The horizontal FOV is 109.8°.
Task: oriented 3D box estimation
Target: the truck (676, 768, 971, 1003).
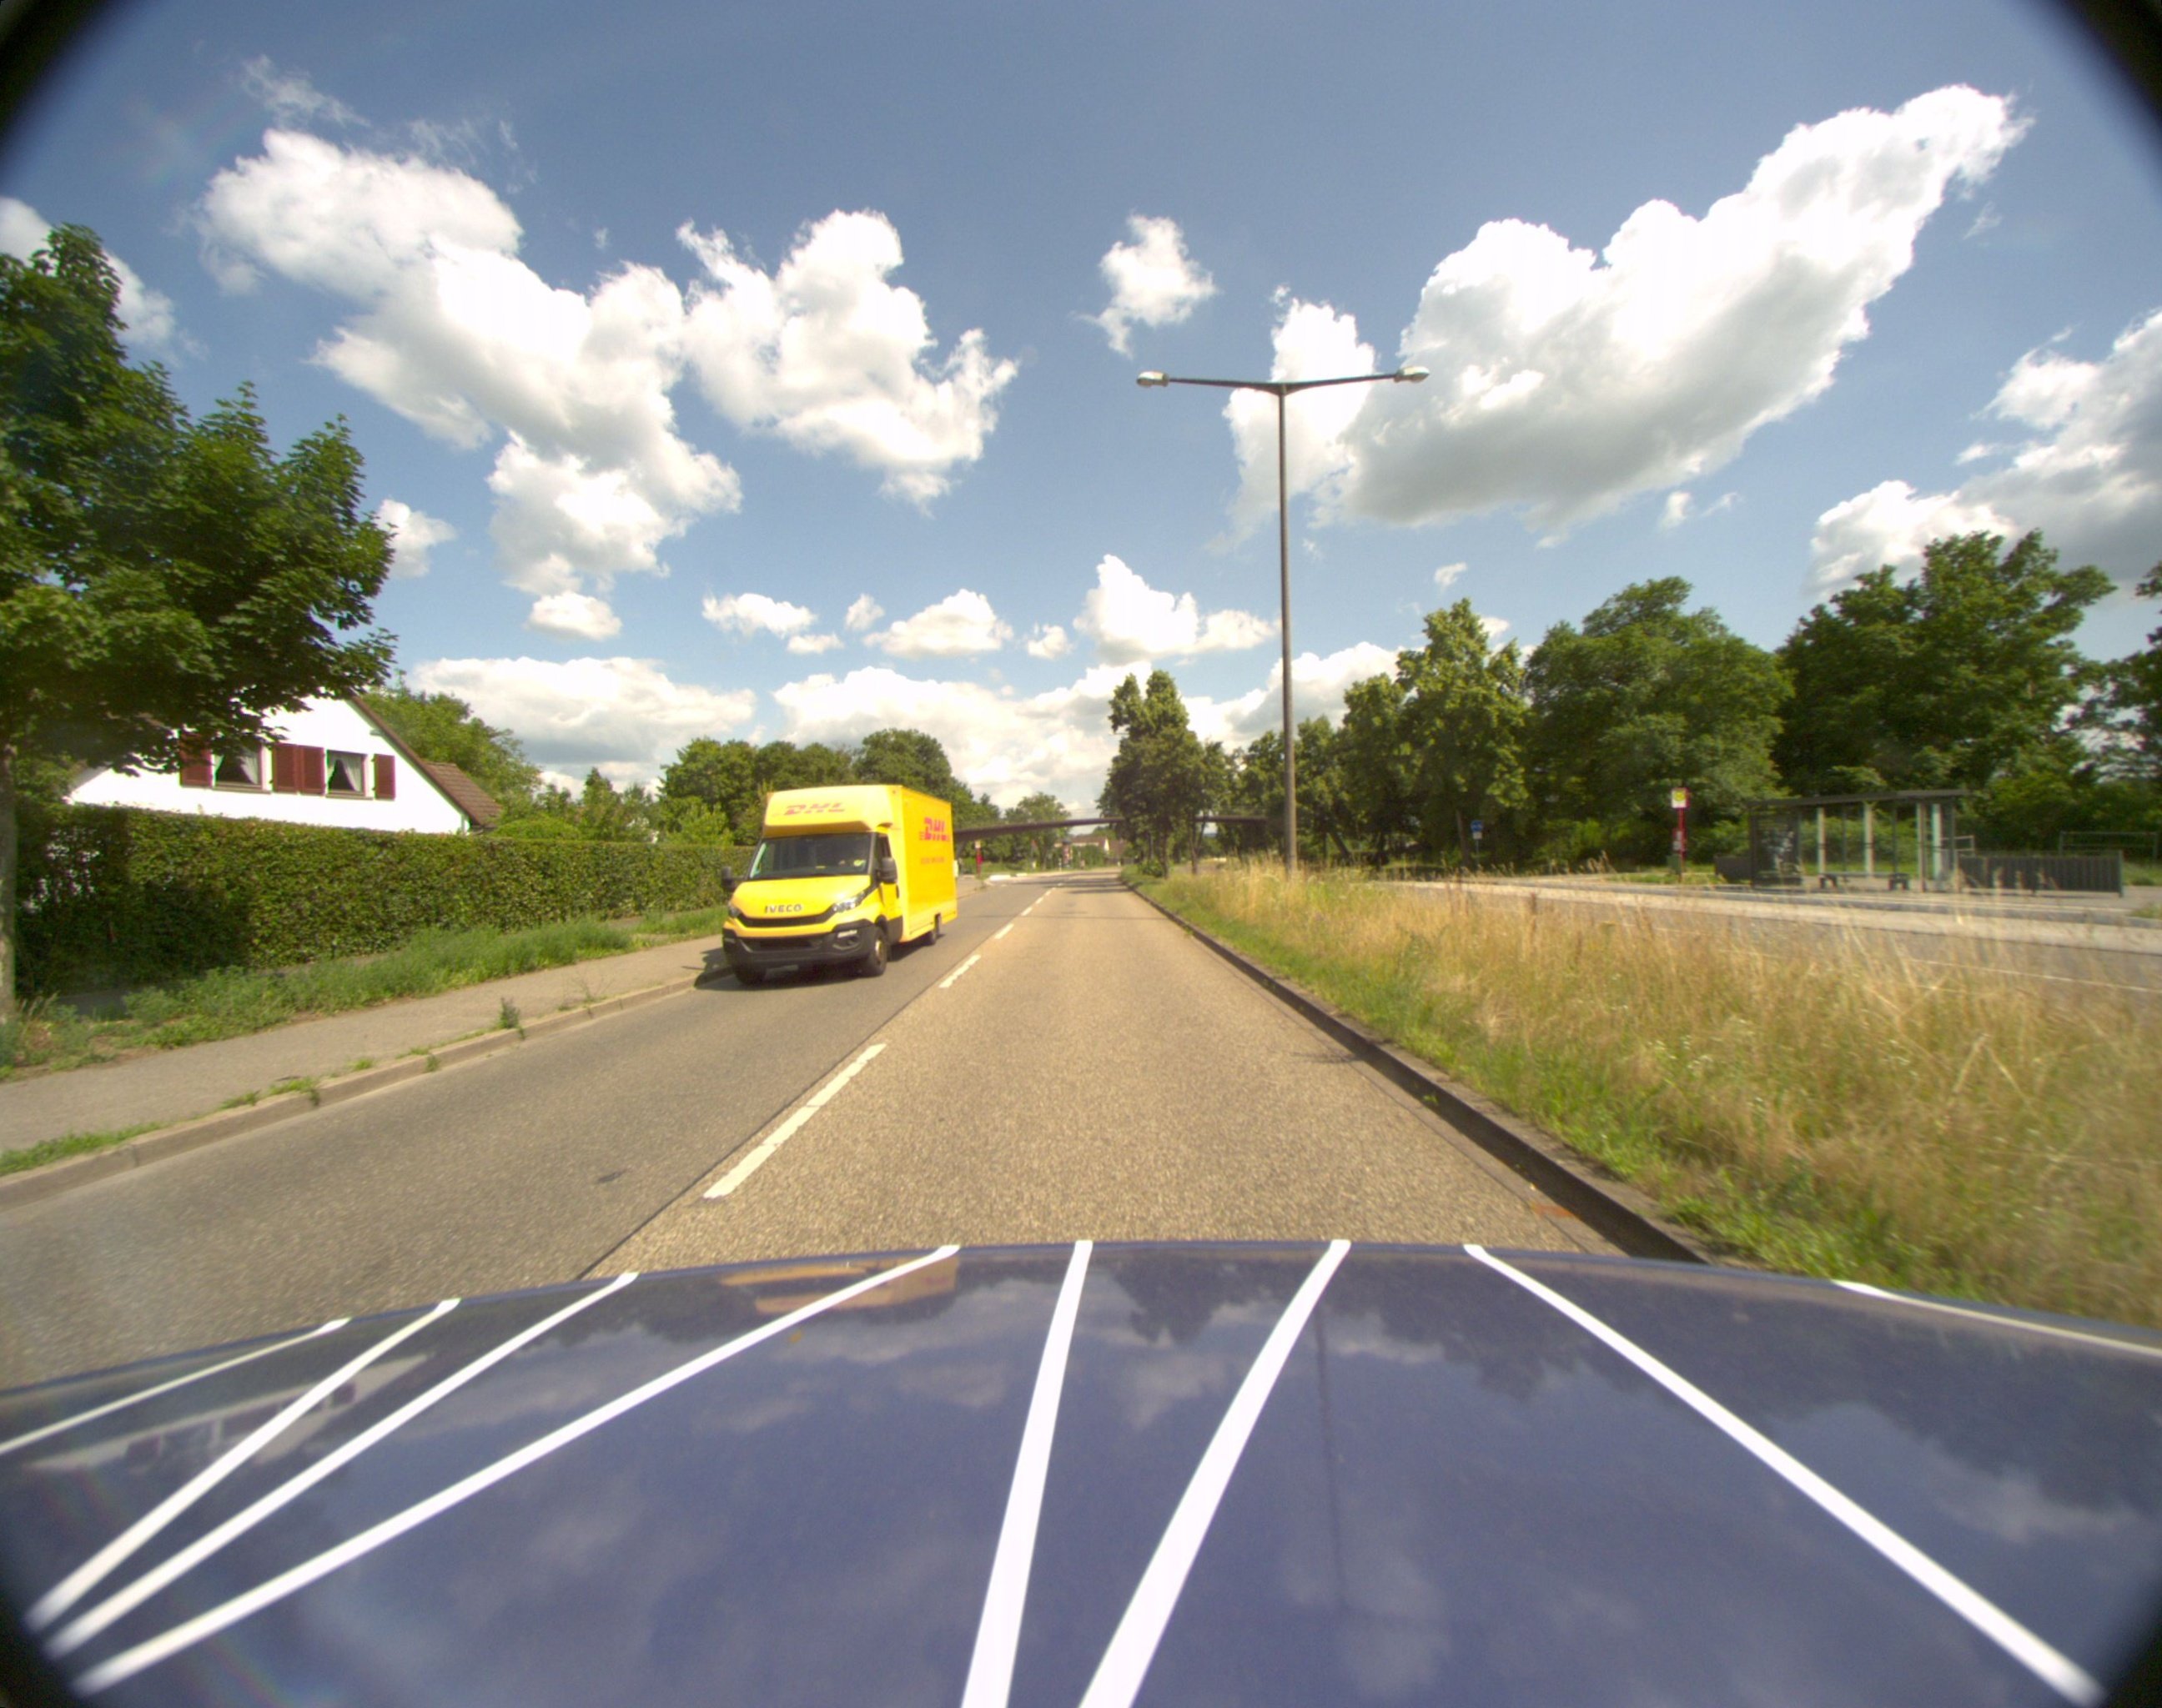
[{"bbox_3d":[-3.842,0.445,13.625,2.270,2.863,8.029,-3,-1,1],"label":"truck"}]
